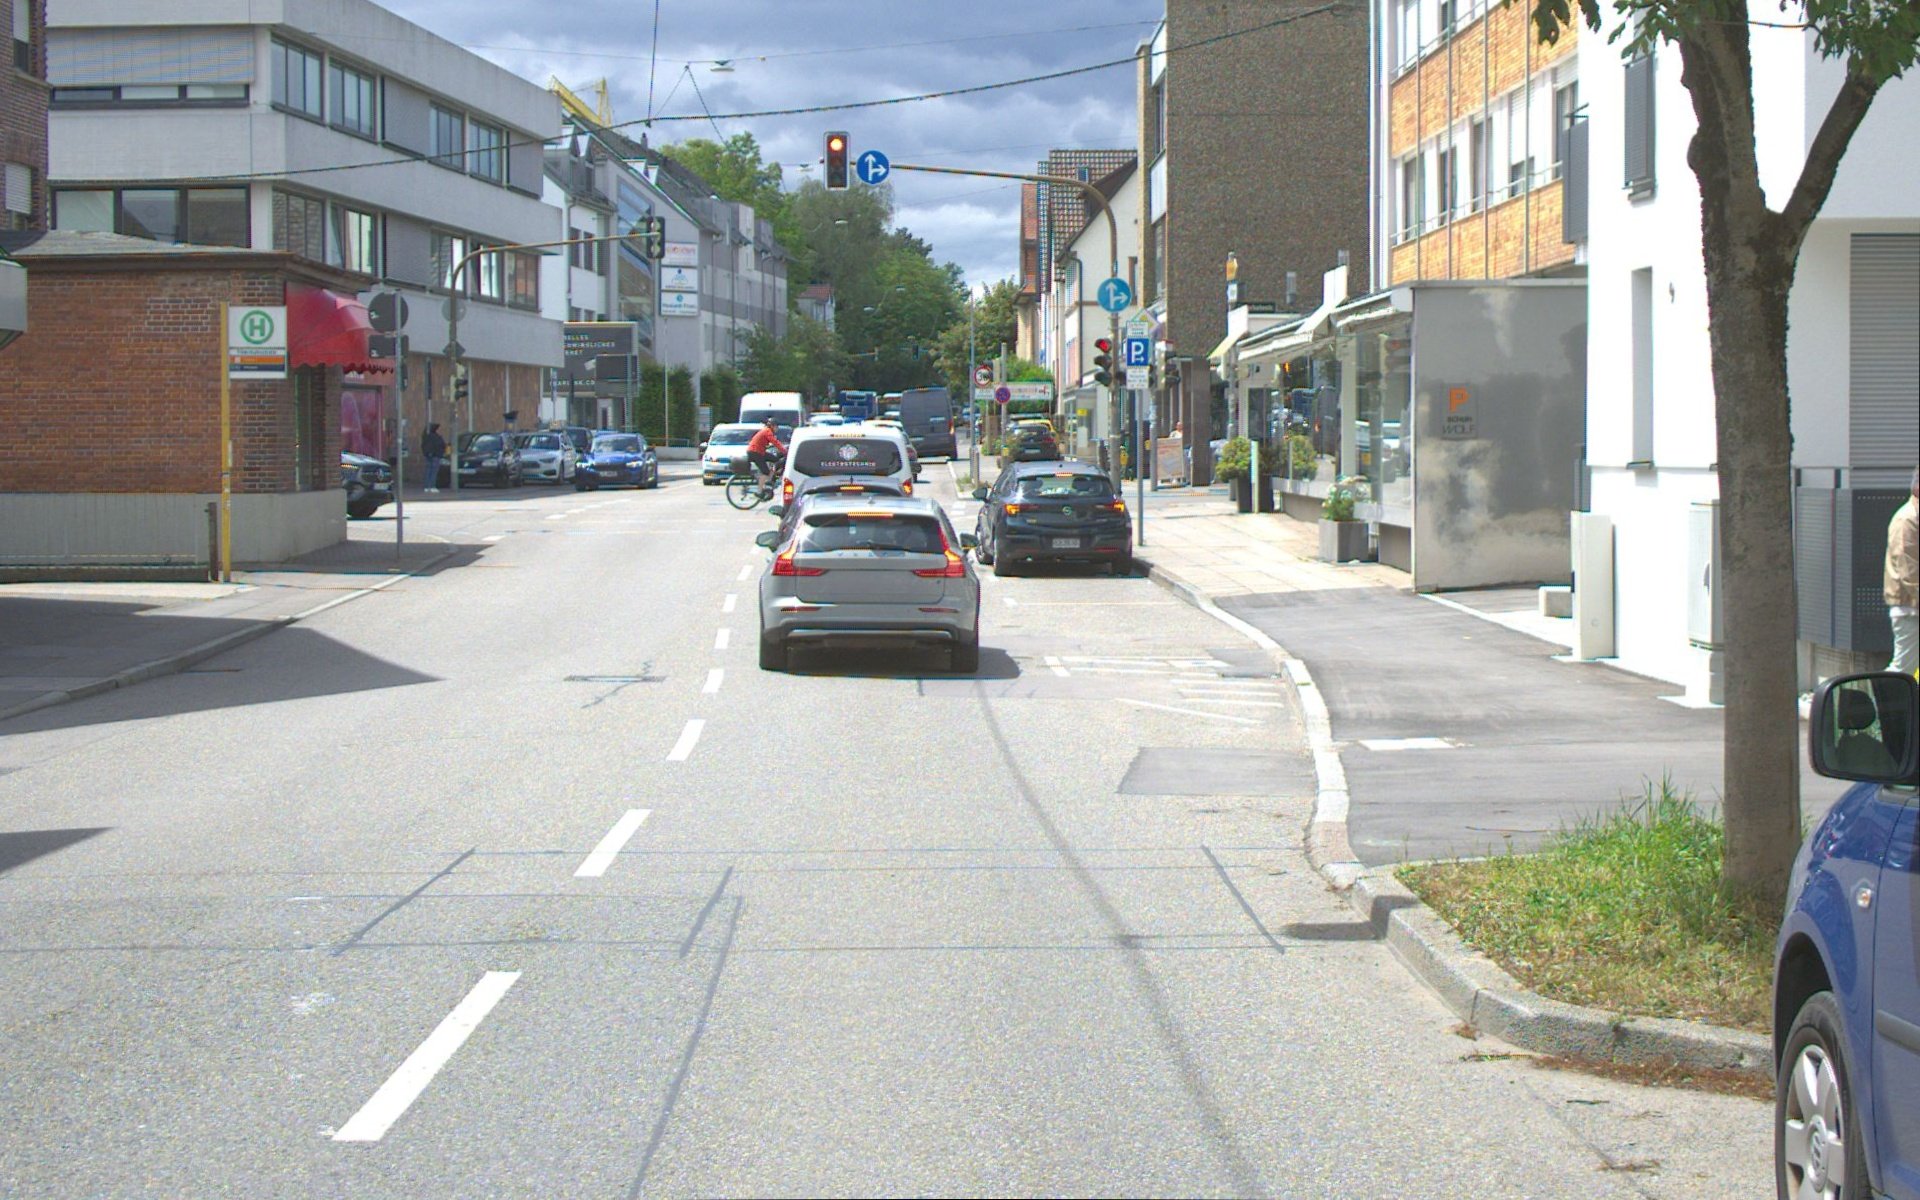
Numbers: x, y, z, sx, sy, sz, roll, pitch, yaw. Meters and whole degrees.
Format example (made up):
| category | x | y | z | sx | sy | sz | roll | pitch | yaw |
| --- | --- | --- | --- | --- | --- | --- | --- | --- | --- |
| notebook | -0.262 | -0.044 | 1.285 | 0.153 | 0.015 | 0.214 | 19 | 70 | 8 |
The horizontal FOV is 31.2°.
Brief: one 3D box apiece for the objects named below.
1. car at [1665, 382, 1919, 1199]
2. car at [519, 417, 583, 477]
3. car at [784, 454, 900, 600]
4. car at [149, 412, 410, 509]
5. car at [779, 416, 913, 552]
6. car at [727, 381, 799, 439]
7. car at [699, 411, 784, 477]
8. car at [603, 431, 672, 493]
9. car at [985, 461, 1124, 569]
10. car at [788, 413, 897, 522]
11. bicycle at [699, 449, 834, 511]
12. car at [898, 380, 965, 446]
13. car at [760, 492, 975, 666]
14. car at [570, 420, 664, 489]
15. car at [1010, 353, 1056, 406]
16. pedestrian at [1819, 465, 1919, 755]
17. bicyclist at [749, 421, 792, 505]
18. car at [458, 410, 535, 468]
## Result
| category | x | y | z | sx | sy | sz | roll | pitch | yaw |
| --- | --- | --- | --- | --- | --- | --- | --- | --- | --- |
| car | 2.502 | 0.533 | 5.304 | 1.844 | 1.761 | 4.515 | 0 | 1 | -1 |
| car | -11.129 | -4.153 | 93.675 | 1.384 | 1.535 | 3.399 | 0 | 1 | -1 |
| car | -1.342 | -0.880 | 39.786 | 1.273 | 1.522 | 3.051 | 0 | 4 | -1 |
| car | -12.390 | -2.534 | 62.770 | 4.338 | 1.720 | 1.845 | 0 | 1 | 3 |
| car | -1.603 | -1.645 | 49.458 | 1.836 | 1.855 | 3.851 | 1 | 1 | -1 |
| car | -6.101 | -5.898 | 106.830 | 1.873 | 1.634 | 4.000 | 0 | 1 | 2 |
| car | -5.845 | -4.177 | 92.396 | 1.873 | 1.634 | 4.000 | 1 | 1 | 2 |
| car | -10.945 | -4.664 | 116.882 | 1.993 | 2.007 | 4.000 | 1 | 1 | 0 |
| car | 1.218 | -1.145 | 45.863 | 1.753 | 1.366 | 4.000 | 0 | 2 | 0 |
| car | -2.120 | -2.332 | 61.175 | 1.836 | 1.855 | 3.851 | 0 | 1 | -3 |
| bicycle | -3.714 | -2.304 | 66.120 | 2.524 | 1.170 | 0.585 | 1 | 1 | 3 |
| car | -1.085 | -7.019 | 129.681 | 2.436 | 2.310 | 5.327 | 1 | 2 | -1 |
| car | -0.780 | -0.222 | 30.089 | 1.744 | 1.412 | 4.000 | 0 | 1 | -1 |
| car | -8.812 | -3.734 | 88.676 | 1.873 | 1.634 | 4.000 | 1 | 1 | 2 |
| car | 3.034 | -9.181 | 143.424 | 1.802 | 2.007 | 4.000 | 0 | 1 | -1 |
| pedestrian | 5.443 | 0.046 | 19.913 | 0.615 | 1.642 | 0.737 | 0 | 1 | 43 |
| bicyclist | -3.643 | -2.638 | 66.132 | 0.772 | 1.601 | 0.581 | 0 | 1 | 3 |
| car | -11.901 | -4.119 | 88.442 | 1.551 | 1.371 | 3.399 | 0 | 1 | -1 |
